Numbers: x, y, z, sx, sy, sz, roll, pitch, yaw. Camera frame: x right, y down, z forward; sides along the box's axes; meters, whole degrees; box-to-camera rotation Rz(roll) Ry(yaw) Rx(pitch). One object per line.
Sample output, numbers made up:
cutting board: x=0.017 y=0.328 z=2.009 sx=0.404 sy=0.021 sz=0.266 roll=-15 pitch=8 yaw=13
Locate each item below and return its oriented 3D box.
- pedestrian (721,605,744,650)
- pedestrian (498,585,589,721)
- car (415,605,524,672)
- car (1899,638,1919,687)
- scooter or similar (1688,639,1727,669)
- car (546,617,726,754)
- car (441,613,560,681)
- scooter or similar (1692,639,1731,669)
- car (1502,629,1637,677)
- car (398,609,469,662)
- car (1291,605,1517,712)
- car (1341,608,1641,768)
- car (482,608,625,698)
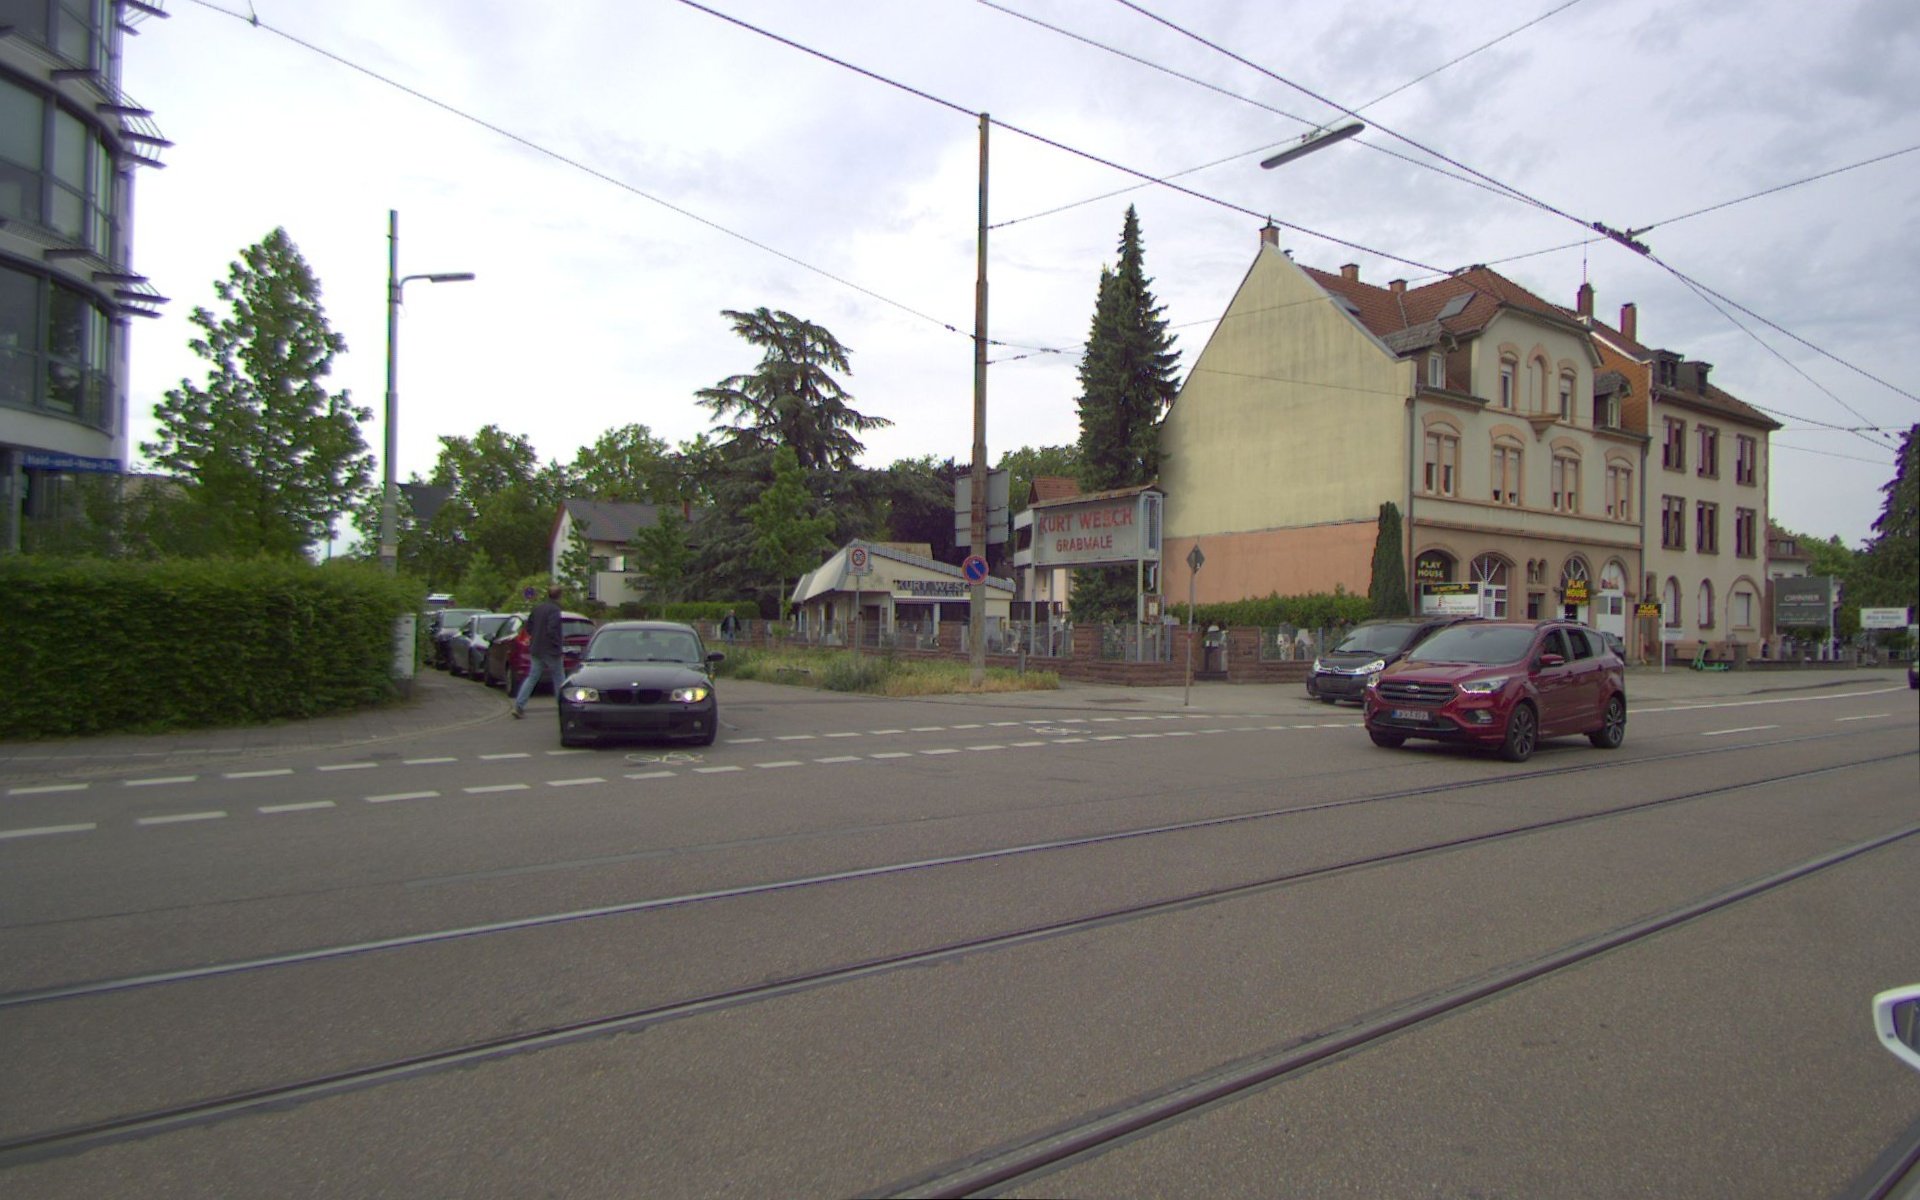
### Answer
pedestrian: x=-9.306 y=1.122 z=41.122 sx=0.752 sy=1.797 sz=0.631 roll=2 pitch=0 yaw=-28
pedestrian: x=-5.916 y=0.739 z=14.257 sx=1.047 sy=1.849 sz=0.800 roll=2 pitch=-1 yaw=-30
car: x=-13.441 y=1.010 z=27.401 sx=1.981 sy=1.673 sz=3.959 roll=2 pitch=-1 yaw=-36
car: x=32.328 y=2.023 z=32.665 sx=4.100 sy=1.550 sz=1.779 roll=2 pitch=-4 yaw=-35
scooter or similar: x=29.232 y=2.118 z=39.283 sx=1.157 sy=1.116 sz=0.527 roll=1 pitch=-1 yaw=30
car: x=-3.888 y=0.948 z=12.678 sx=1.757 sy=1.387 sz=4.103 roll=2 pitch=-1 yaw=-13
car: x=-10.520 y=1.015 z=22.851 sx=1.761 sy=1.367 sz=4.009 roll=2 pitch=-1 yaw=-35
scooter or similar: x=29.830 y=2.144 z=39.866 sx=1.157 sy=1.116 sz=0.527 roll=1 pitch=-1 yaw=30
car: x=20.905 y=1.802 z=34.382 sx=4.848 sy=1.512 sz=1.983 roll=2 pitch=-1 yaw=-32
car: x=-18.653 y=1.220 z=35.521 sx=1.868 sy=1.704 sz=3.802 roll=2 pitch=-1 yaw=-33
car: x=9.713 y=1.225 z=21.829 sx=5.129 sy=2.040 sz=1.975 roll=2 pitch=0 yaw=-33
car: x=6.992 y=1.044 z=13.052 sx=4.368 sy=1.747 sz=1.828 roll=2 pitch=-2 yaw=-38
car: x=-7.566 y=0.875 z=18.471 sx=1.707 sy=1.441 sz=3.983 roll=-1 pitch=0 yaw=-33
